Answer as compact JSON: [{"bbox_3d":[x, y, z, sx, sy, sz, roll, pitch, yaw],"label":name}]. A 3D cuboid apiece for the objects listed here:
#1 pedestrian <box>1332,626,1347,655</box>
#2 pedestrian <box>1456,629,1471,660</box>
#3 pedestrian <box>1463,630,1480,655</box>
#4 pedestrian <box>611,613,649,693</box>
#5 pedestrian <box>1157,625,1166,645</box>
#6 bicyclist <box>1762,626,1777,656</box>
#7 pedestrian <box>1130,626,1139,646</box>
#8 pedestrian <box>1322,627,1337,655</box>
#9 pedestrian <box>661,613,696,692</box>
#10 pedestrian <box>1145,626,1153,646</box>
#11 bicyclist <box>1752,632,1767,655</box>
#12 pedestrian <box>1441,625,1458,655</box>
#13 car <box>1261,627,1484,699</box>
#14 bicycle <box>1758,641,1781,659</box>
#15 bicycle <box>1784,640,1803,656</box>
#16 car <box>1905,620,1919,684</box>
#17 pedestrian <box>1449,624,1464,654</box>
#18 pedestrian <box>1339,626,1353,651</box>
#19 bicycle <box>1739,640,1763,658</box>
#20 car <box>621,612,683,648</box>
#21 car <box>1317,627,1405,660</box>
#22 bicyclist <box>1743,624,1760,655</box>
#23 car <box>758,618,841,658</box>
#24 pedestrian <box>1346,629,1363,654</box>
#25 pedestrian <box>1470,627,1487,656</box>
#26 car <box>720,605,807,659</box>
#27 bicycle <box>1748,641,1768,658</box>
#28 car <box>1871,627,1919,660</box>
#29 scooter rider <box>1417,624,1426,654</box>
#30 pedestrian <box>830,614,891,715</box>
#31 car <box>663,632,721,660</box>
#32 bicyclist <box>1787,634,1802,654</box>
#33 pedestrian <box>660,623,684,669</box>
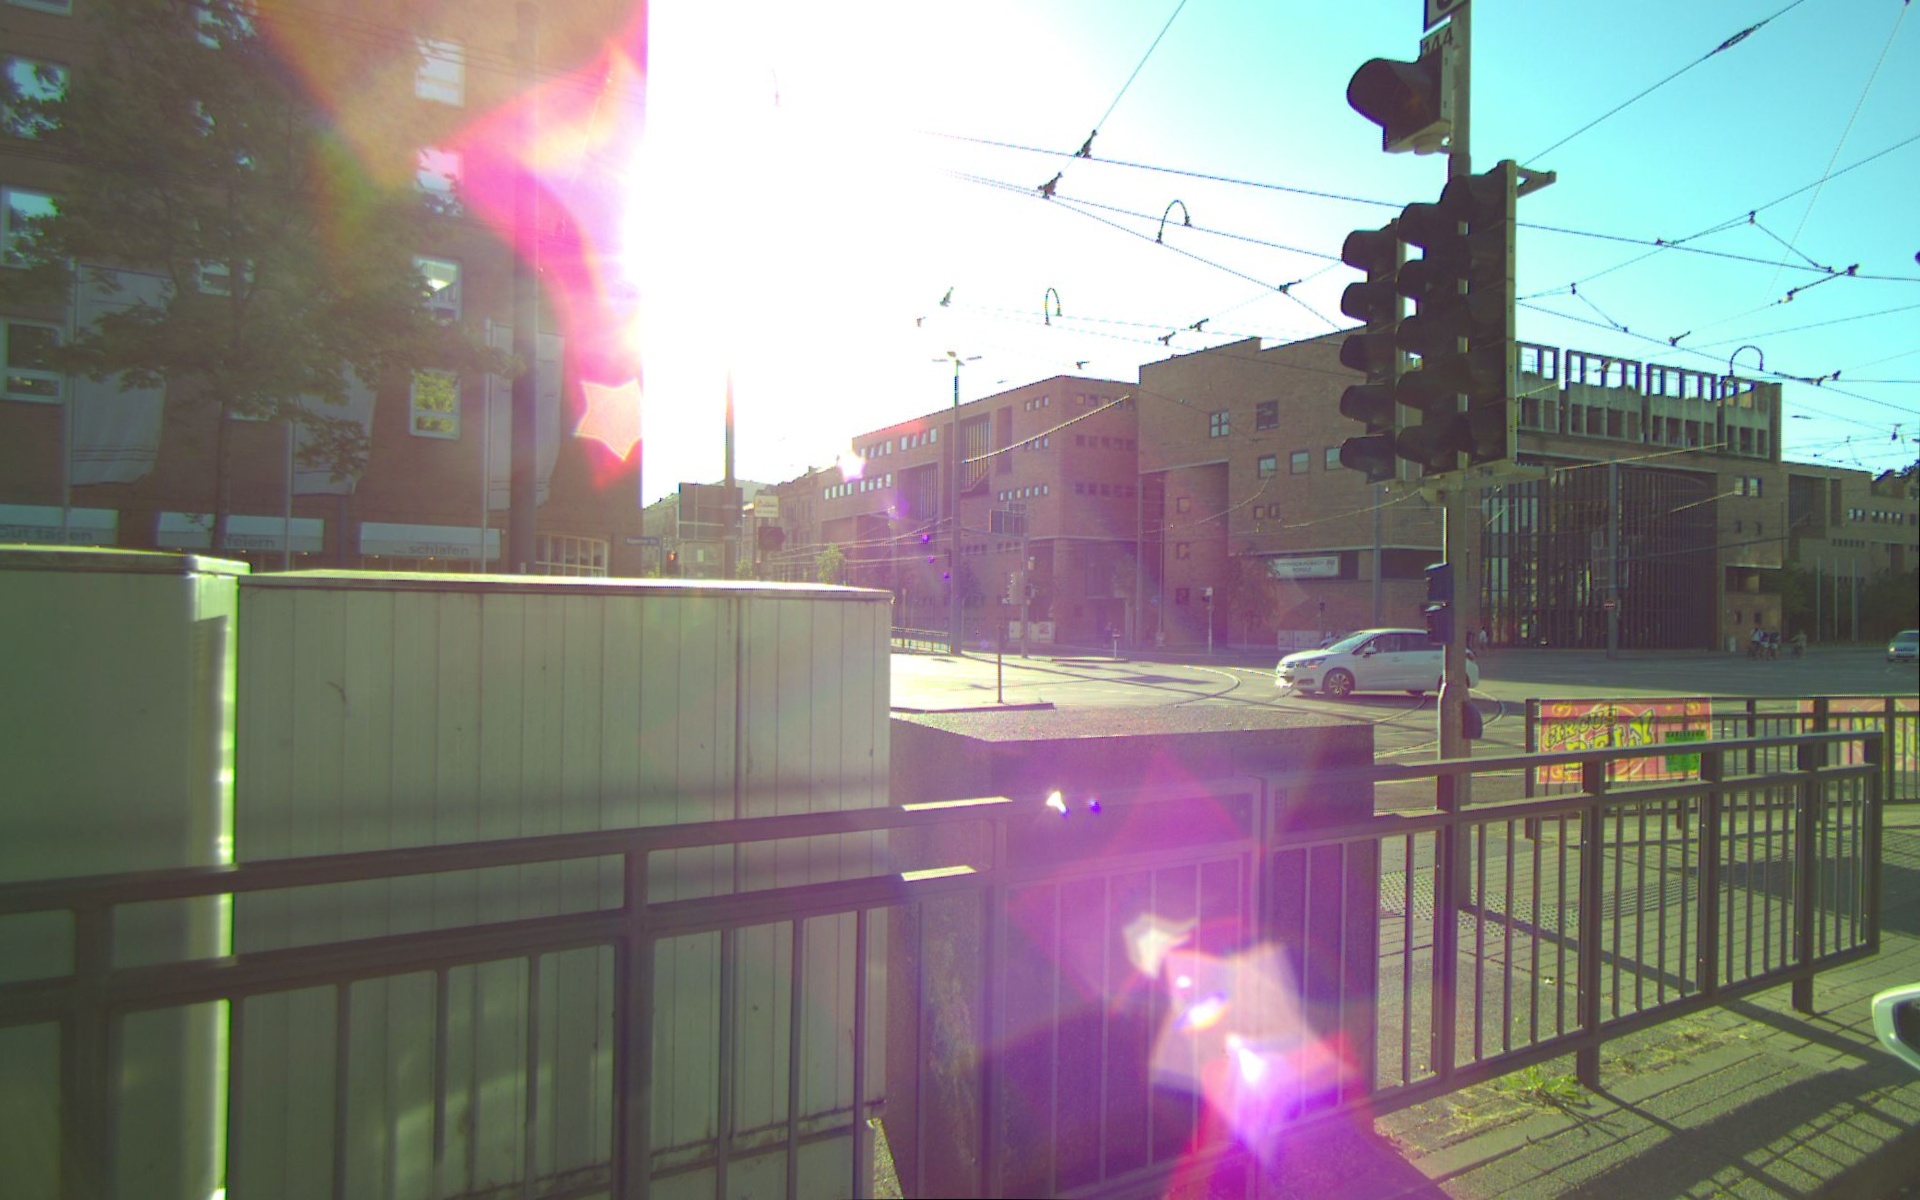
[{"bbox_3d":[21.781,2.330,57.603,0.543,1.670,0.596,1,-1,-30],"label":"pedestrian"},{"bbox_3d":[28.101,2.458,56.062,0.542,1.706,0.590,1,-1,-17],"label":"pedestrian"},{"bbox_3d":[29.128,2.427,57.194,0.590,1.440,0.639,1,-1,-18],"label":"pedestrian"},{"bbox_3d":[-7.757,1.232,23.592,0.713,1.837,0.904,1,-1,-28],"label":"pedestrian"},{"bbox_3d":[15.042,2.600,75.051,0.549,1.445,0.556,0,-1,2],"label":"pedestrian"},{"bbox_3d":[44.895,2.259,55.717,0.574,1.624,0.456,1,-1,-30],"label":"bicyclist"},{"bbox_3d":[12.825,2.663,73.911,0.463,1.482,0.505,1,-1,-37],"label":"pedestrian"},{"bbox_3d":[21.501,2.376,58.485,0.582,1.635,0.593,1,-1,-31],"label":"pedestrian"},{"bbox_3d":[-6.765,1.243,24.138,0.647,1.864,0.835,1,-1,-28],"label":"pedestrian"},{"bbox_3d":[14.249,2.721,75.790,0.523,1.482,0.591,0,-1,3],"label":"pedestrian"},{"bbox_3d":[46.597,2.523,58.574,0.574,1.321,0.503,1,-1,-30],"label":"bicyclist"},{"bbox_3d":[27.835,2.252,57.134,0.611,1.706,0.650,1,-1,-11],"label":"pedestrian"},{"bbox_3d":[9.058,1.368,22.279,4.225,1.508,1.761,0,-1,-1],"label":"car"},{"bbox_3d":[44.891,2.741,55.698,1.557,0.976,0.470,1,-1,-30],"label":"bicycle"},{"bbox_3d":[49.412,2.844,59.536,1.332,0.976,0.449,1,-1,-30],"label":"bicycle"},{"bbox_3d":[30.400,1.514,28.424,5.222,1.873,1.968,0,-1,5],"label":"car"},{"bbox_3d":[28.838,2.248,58.353,0.538,1.706,0.573,0,-1,-2],"label":"pedestrian"},{"bbox_3d":[22.565,2.229,58.670,0.611,1.473,0.562,2,-2,-45],"label":"pedestrian"},{"bbox_3d":[44.425,2.743,56.387,1.568,0.976,0.539,1,-1,-30],"label":"bicycle"},{"bbox_3d":[-18.994,1.819,61.775,1.982,2.122,5.156,1,-2,-38],"label":"car"},{"bbox_3d":[20.155,2.169,50.614,1.982,1.595,3.687,1,-2,-33],"label":"car"},{"bbox_3d":[44.440,2.226,56.396,0.574,1.754,0.534,1,-1,-30],"label":"bicyclist"},{"bbox_3d":[-8.338,1.910,51.708,1.982,1.928,5.156,1,-2,-38],"label":"car"},{"bbox_3d":[22.260,2.340,56.707,0.670,1.357,0.603,1,-1,-14],"label":"pedestrian"},{"bbox_3d":[29.948,2.398,57.987,0.609,1.647,0.609,1,-1,-24],"label":"pedestrian"},{"bbox_3d":[-9.452,1.519,47.961,1.982,2.419,5.156,1,-2,-38],"label":"car"},{"bbox_3d":[46.531,2.887,58.541,1.304,0.976,0.465,1,-1,-30],"label":"bicycle"},{"bbox_3d":[48.988,2.223,51.784,3.954,1.661,1.984,1,-2,-31],"label":"car"},{"bbox_3d":[25.430,2.162,55.378,0.429,1.669,0.229,0,-1,15],"label":"scooter rider"},{"bbox_3d":[-1.704,1.074,17.162,0.709,1.669,0.953,1,-1,-30],"label":"pedestrian"},{"bbox_3d":[-14.415,2.434,53.893,1.729,1.372,3.960,1,-2,-36],"label":"car"},{"bbox_3d":[49.520,2.626,59.610,0.574,1.194,0.503,1,-1,-30],"label":"bicyclist"},{"bbox_3d":[-10.476,1.657,36.503,0.658,1.669,0.638,1,-1,-34],"label":"pedestrian"}]
